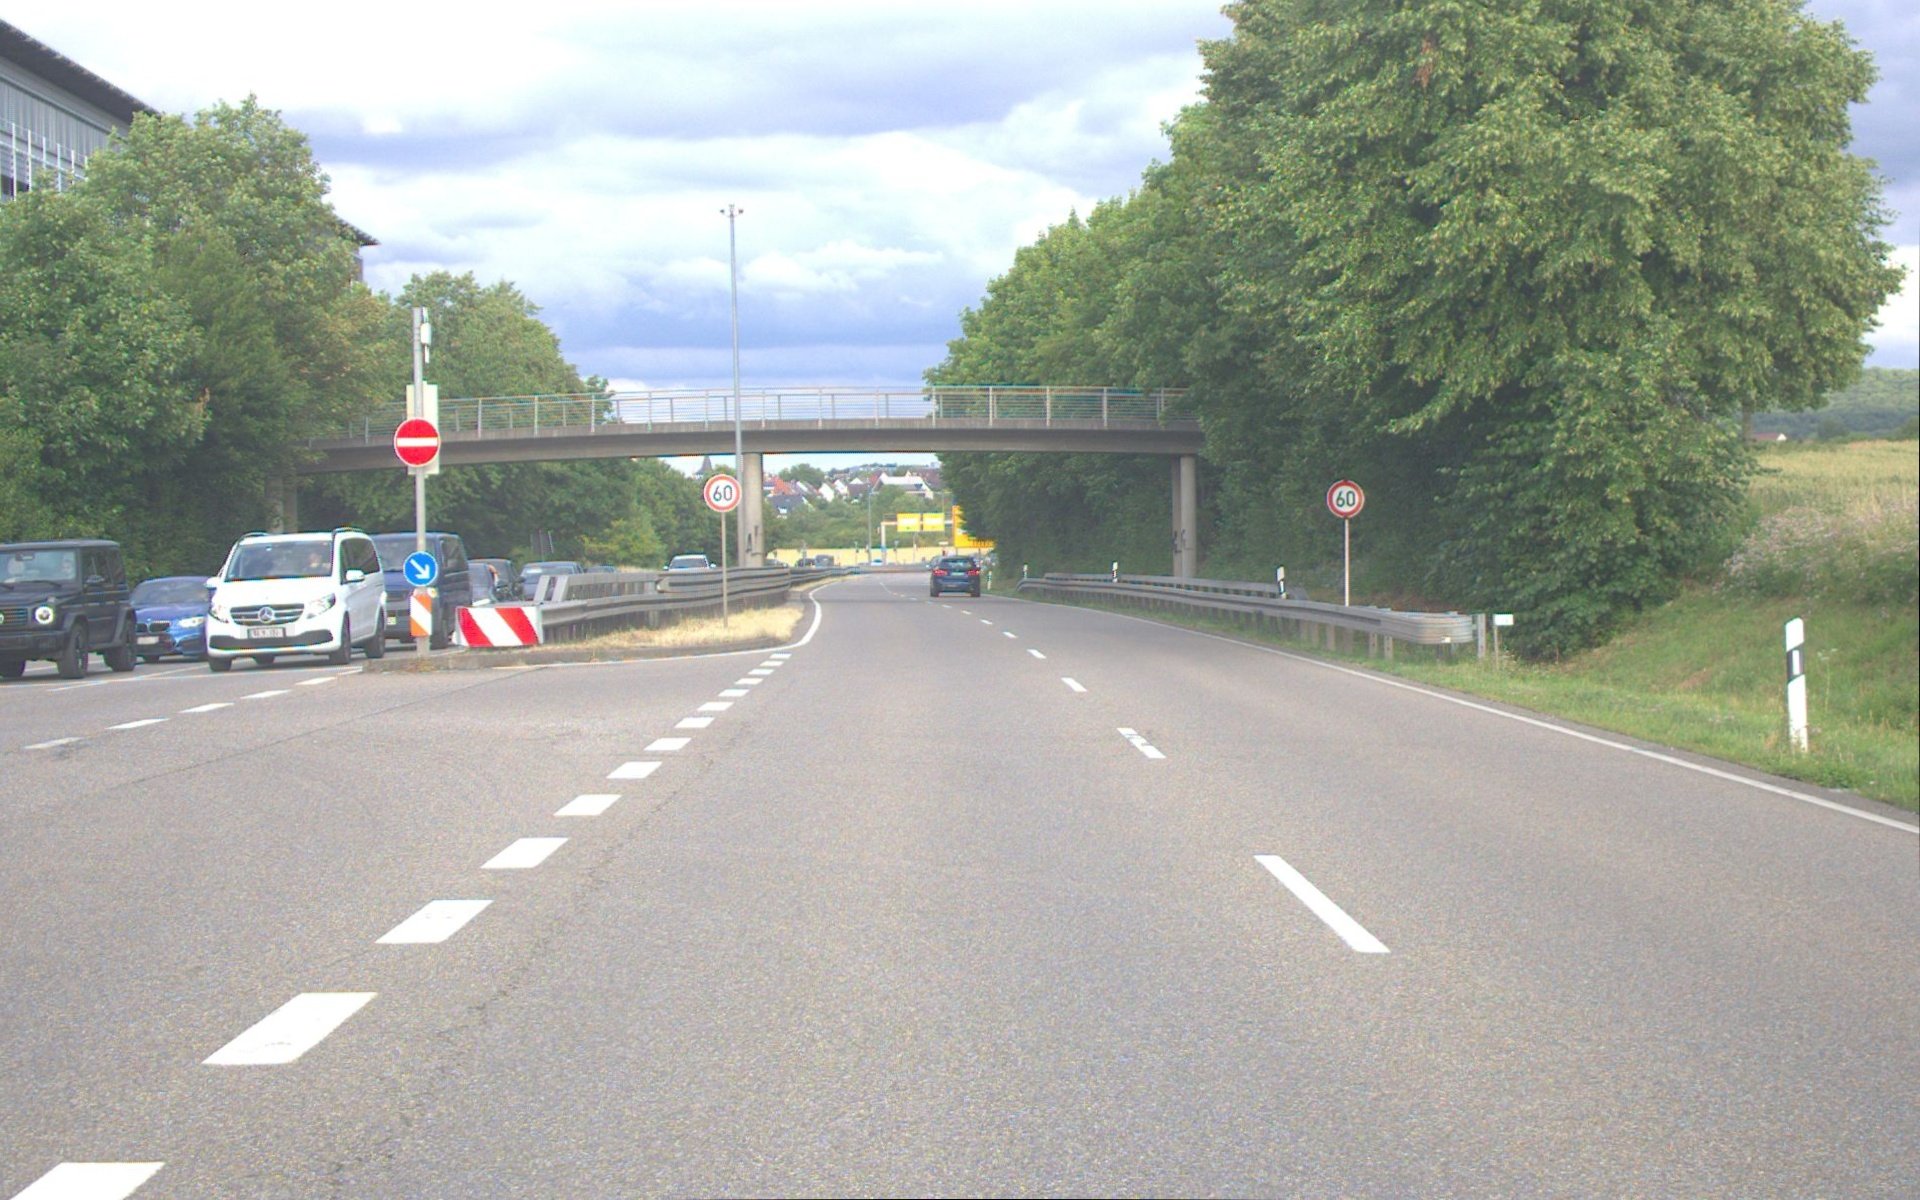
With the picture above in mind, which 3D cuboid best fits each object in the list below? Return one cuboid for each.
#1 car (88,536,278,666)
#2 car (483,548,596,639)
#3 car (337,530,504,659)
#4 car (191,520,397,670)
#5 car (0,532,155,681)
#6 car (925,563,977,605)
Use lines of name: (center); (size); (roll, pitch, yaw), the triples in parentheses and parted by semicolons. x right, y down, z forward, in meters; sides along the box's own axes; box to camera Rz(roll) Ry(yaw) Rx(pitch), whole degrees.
car: (-12.749, -0.011, 56.755); (2.083, 2.007, 5.217); (1, 1, -2)
car: (-9.663, -0.169, 79.342); (2.083, 2.007, 5.217); (1, 1, -2)
car: (-8.905, -0.114, 57.101); (2.083, 2.007, 5.217); (1, 1, -2)
car: (-9.483, -0.095, 49.364); (2.083, 2.007, 5.217); (1, 1, -2)
car: (-13.117, 0.053, 49.254); (2.083, 2.007, 5.217); (1, 1, -2)
car: (-0.345, -0.611, 130.044); (1.879, 1.547, 4.000); (1, 1, -1)
